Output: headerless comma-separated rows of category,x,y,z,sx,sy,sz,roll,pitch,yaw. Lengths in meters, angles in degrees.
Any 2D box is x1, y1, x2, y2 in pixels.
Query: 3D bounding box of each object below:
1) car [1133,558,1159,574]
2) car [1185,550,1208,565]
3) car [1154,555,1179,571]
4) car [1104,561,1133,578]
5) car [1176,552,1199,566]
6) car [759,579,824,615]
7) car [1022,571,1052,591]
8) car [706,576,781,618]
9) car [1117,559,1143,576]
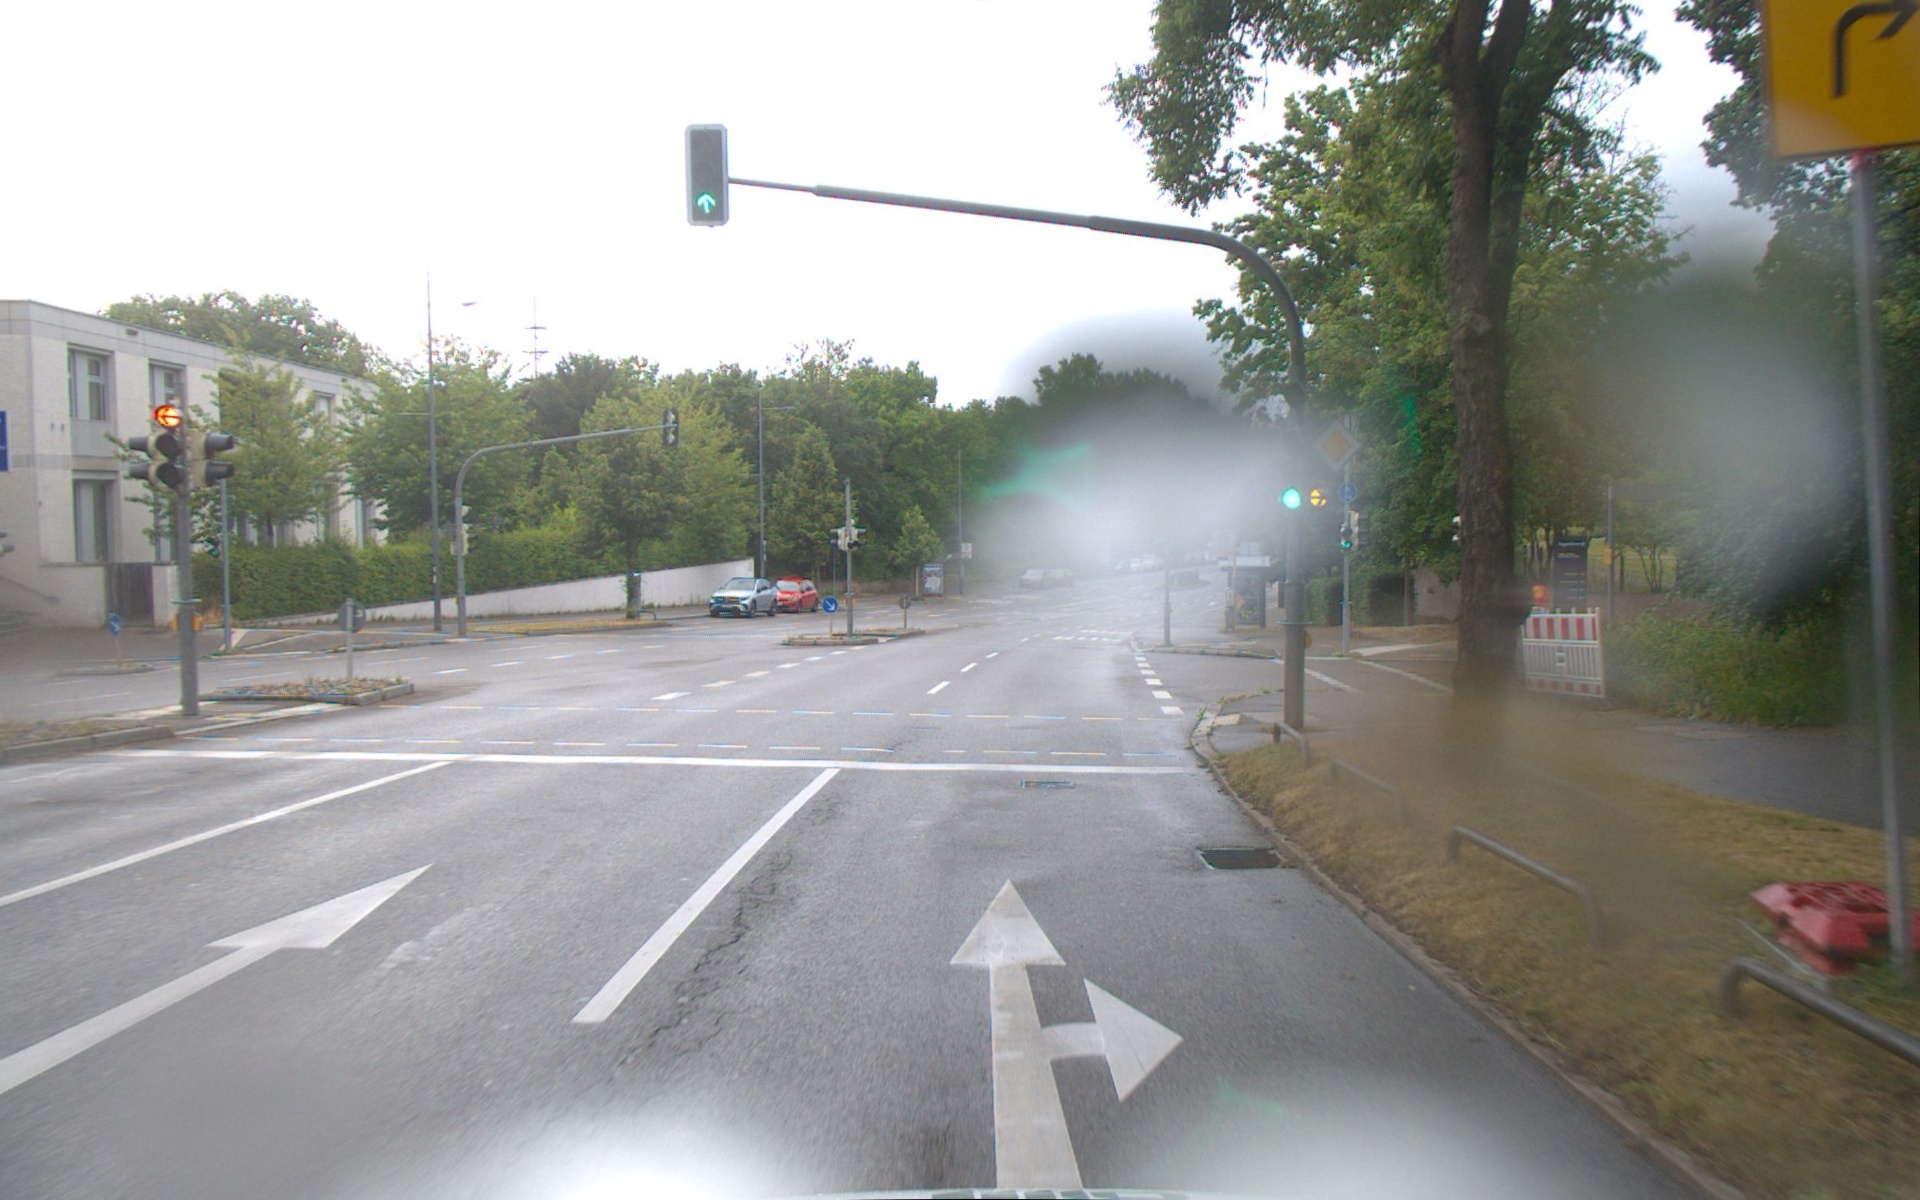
car,19.699,-3.629,175.120,1.916,1.511,4.003,3,4,19
car,28.619,-5.143,200.025,1.916,1.511,4.003,3,4,19
car,22.851,-4.105,183.099,1.916,1.511,4.003,3,4,19
car,15.892,-3.078,165.826,1.916,1.511,4.003,3,4,19
car,26.860,-4.831,194.928,1.916,1.511,4.003,3,4,19
car,-7.971,-0.160,78.702,1.835,1.602,4.226,3,1,11
car,6.148,-1.508,131.763,1.676,1.486,3.753,1,0,15
car,-9.307,-0.130,71.444,1.814,1.668,4.097,3,1,13
car,17.540,-3.364,170.512,1.821,1.511,4.003,3,4,19
